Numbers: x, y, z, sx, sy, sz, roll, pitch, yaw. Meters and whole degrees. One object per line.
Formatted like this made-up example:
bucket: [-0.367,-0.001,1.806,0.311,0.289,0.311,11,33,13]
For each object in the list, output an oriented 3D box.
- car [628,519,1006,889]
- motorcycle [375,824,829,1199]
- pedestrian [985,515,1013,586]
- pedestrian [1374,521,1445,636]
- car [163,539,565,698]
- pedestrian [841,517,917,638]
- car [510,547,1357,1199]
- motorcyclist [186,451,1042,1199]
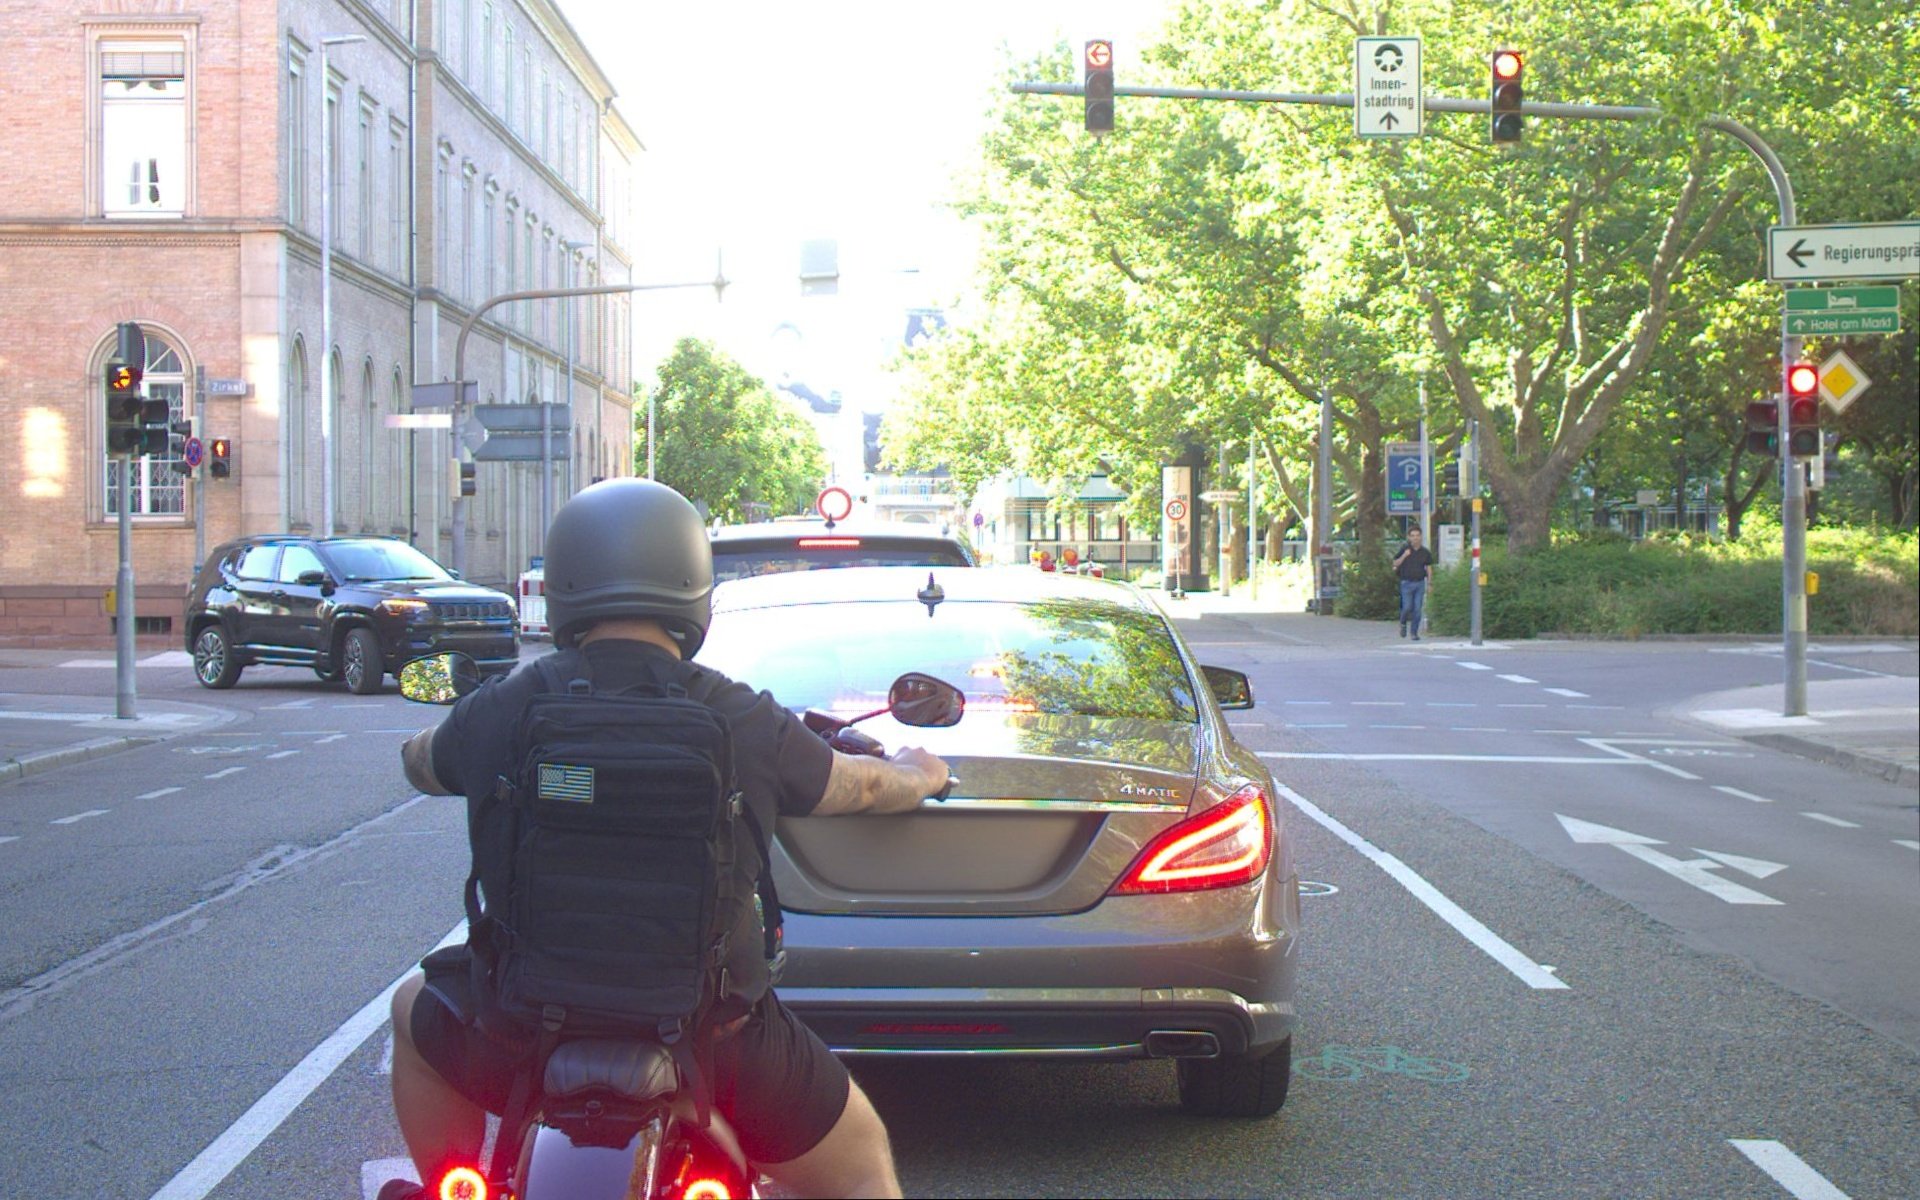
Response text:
car: [-0.636,0.411,16.749,1.621,1.588,4.000,0,1,-1]
motorcycle: [-0.495,0.926,5.340,0.513,0.999,2.013,1,1,-1]
pedestrian: [1.139,-1.454,100.877,0.764,2.044,0.712,1,0,-1]
pedestrian: [7.485,-0.362,57.250,0.749,1.903,0.926,1,0,-28]
car: [-6.368,0.161,36.485,4.382,1.565,1.851,1,1,41]
pedestrian: [-1.227,-0.344,52.272,1.002,1.820,1.076,1,0,6]
car: [-0.082,0.595,9.633,1.882,1.444,3.820,1,1,-1]
motorcyclist: [-0.482,0.596,5.319,1.149,1.593,1.288,1,0,-1]
